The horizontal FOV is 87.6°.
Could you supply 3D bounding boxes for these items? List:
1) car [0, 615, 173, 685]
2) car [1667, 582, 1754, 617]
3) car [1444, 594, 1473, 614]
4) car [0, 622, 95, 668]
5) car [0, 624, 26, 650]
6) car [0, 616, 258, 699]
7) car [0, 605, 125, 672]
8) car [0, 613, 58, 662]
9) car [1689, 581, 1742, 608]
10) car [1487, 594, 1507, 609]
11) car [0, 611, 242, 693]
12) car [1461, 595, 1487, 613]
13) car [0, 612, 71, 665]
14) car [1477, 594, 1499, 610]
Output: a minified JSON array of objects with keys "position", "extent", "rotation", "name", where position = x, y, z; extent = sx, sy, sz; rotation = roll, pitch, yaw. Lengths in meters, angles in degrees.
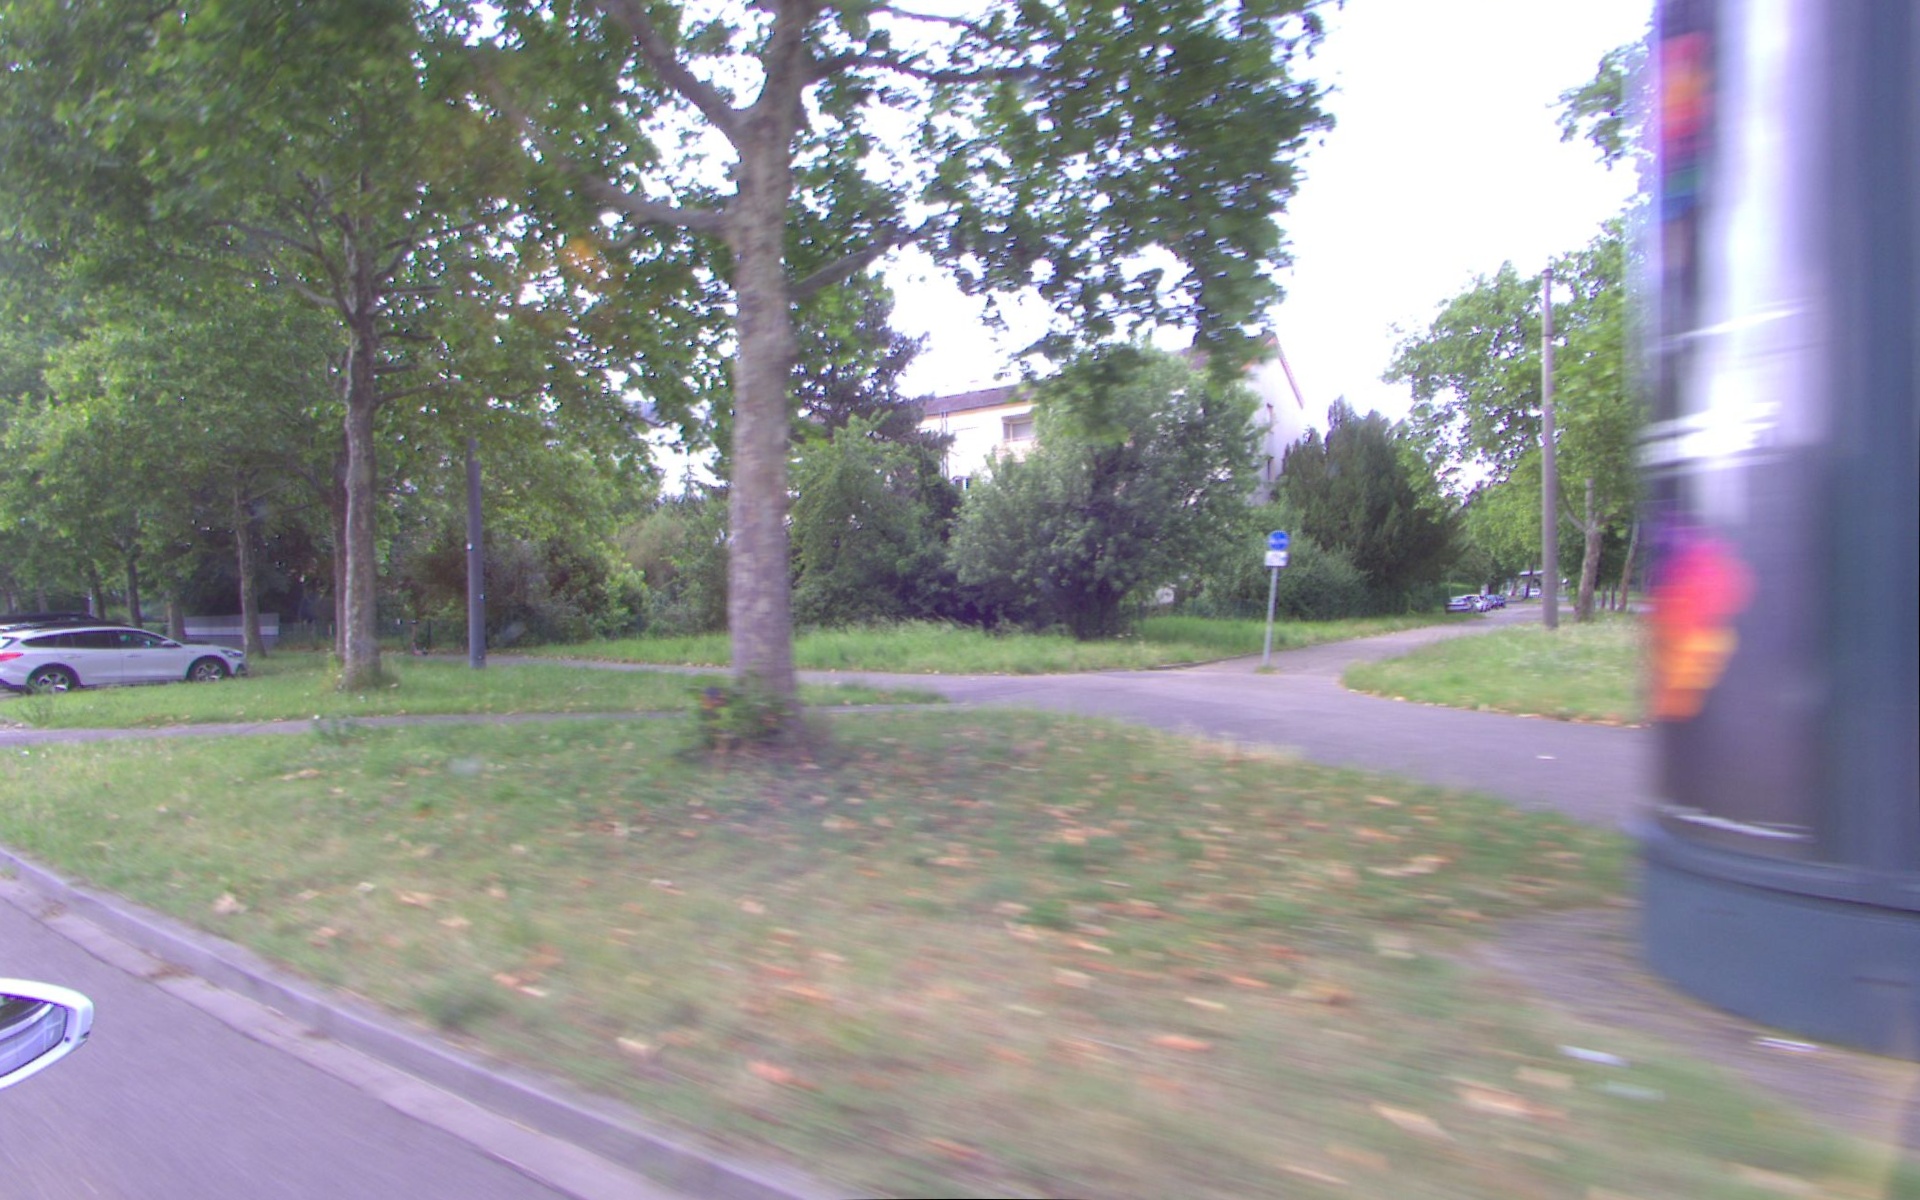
[{"position":[-24.426,1.348,27.386],"extent":[1.738,1.661,4.353],"rotation":[-1,1,44],"name":"car"},{"position":[35.047,-0.025,46.897],"extent":[1.966,1.533,4.676],"rotation":[-2,0,20],"name":"car"},{"position":[37.376,0.267,75.006],"extent":[1.655,1.409,3.288],"rotation":[-1,0,32],"name":"car"},{"position":[-37.385,1.801,39.610],"extent":[1.833,1.682,4.526],"rotation":[-1,1,38],"name":"car"},{"position":[-64.031,2.468,65.165],"extent":[1.833,1.630,4.525],"rotation":[-1,1,39],"name":"car"},{"position":[-18.836,1.216,22.525],"extent":[1.825,1.493,4.637],"rotation":[-1,1,39],"name":"car"},{"position":[-32.597,1.347,35.359],"extent":[1.835,2.152,4.520],"rotation":[-1,1,42],"name":"car"},{"position":[-42.905,1.713,44.030],"extent":[1.833,2.071,4.525],"rotation":[-1,1,39],"name":"car"},{"position":[50.323,-0.362,66.806],"extent":[1.967,1.728,3.987],"rotation":[-1,0,24],"name":"car"},{"position":[55.086,0.143,102.731],"extent":[1.655,1.409,3.288],"rotation":[-1,0,32],"name":"car"},{"position":[-20.360,1.171,24.127],"extent":[1.825,1.648,4.637],"rotation":[-1,1,39],"name":"car"},{"position":[42.362,0.318,82.448],"extent":[1.655,1.409,3.288],"rotation":[-1,0,32],"name":"car"},{"position":[-39.585,1.619,40.959],"extent":[1.833,2.027,4.525],"rotation":[-1,1,39],"name":"car"},{"position":[50.607,0.201,95.944],"extent":[1.655,1.409,3.288],"rotation":[-1,0,32],"name":"car"}]
